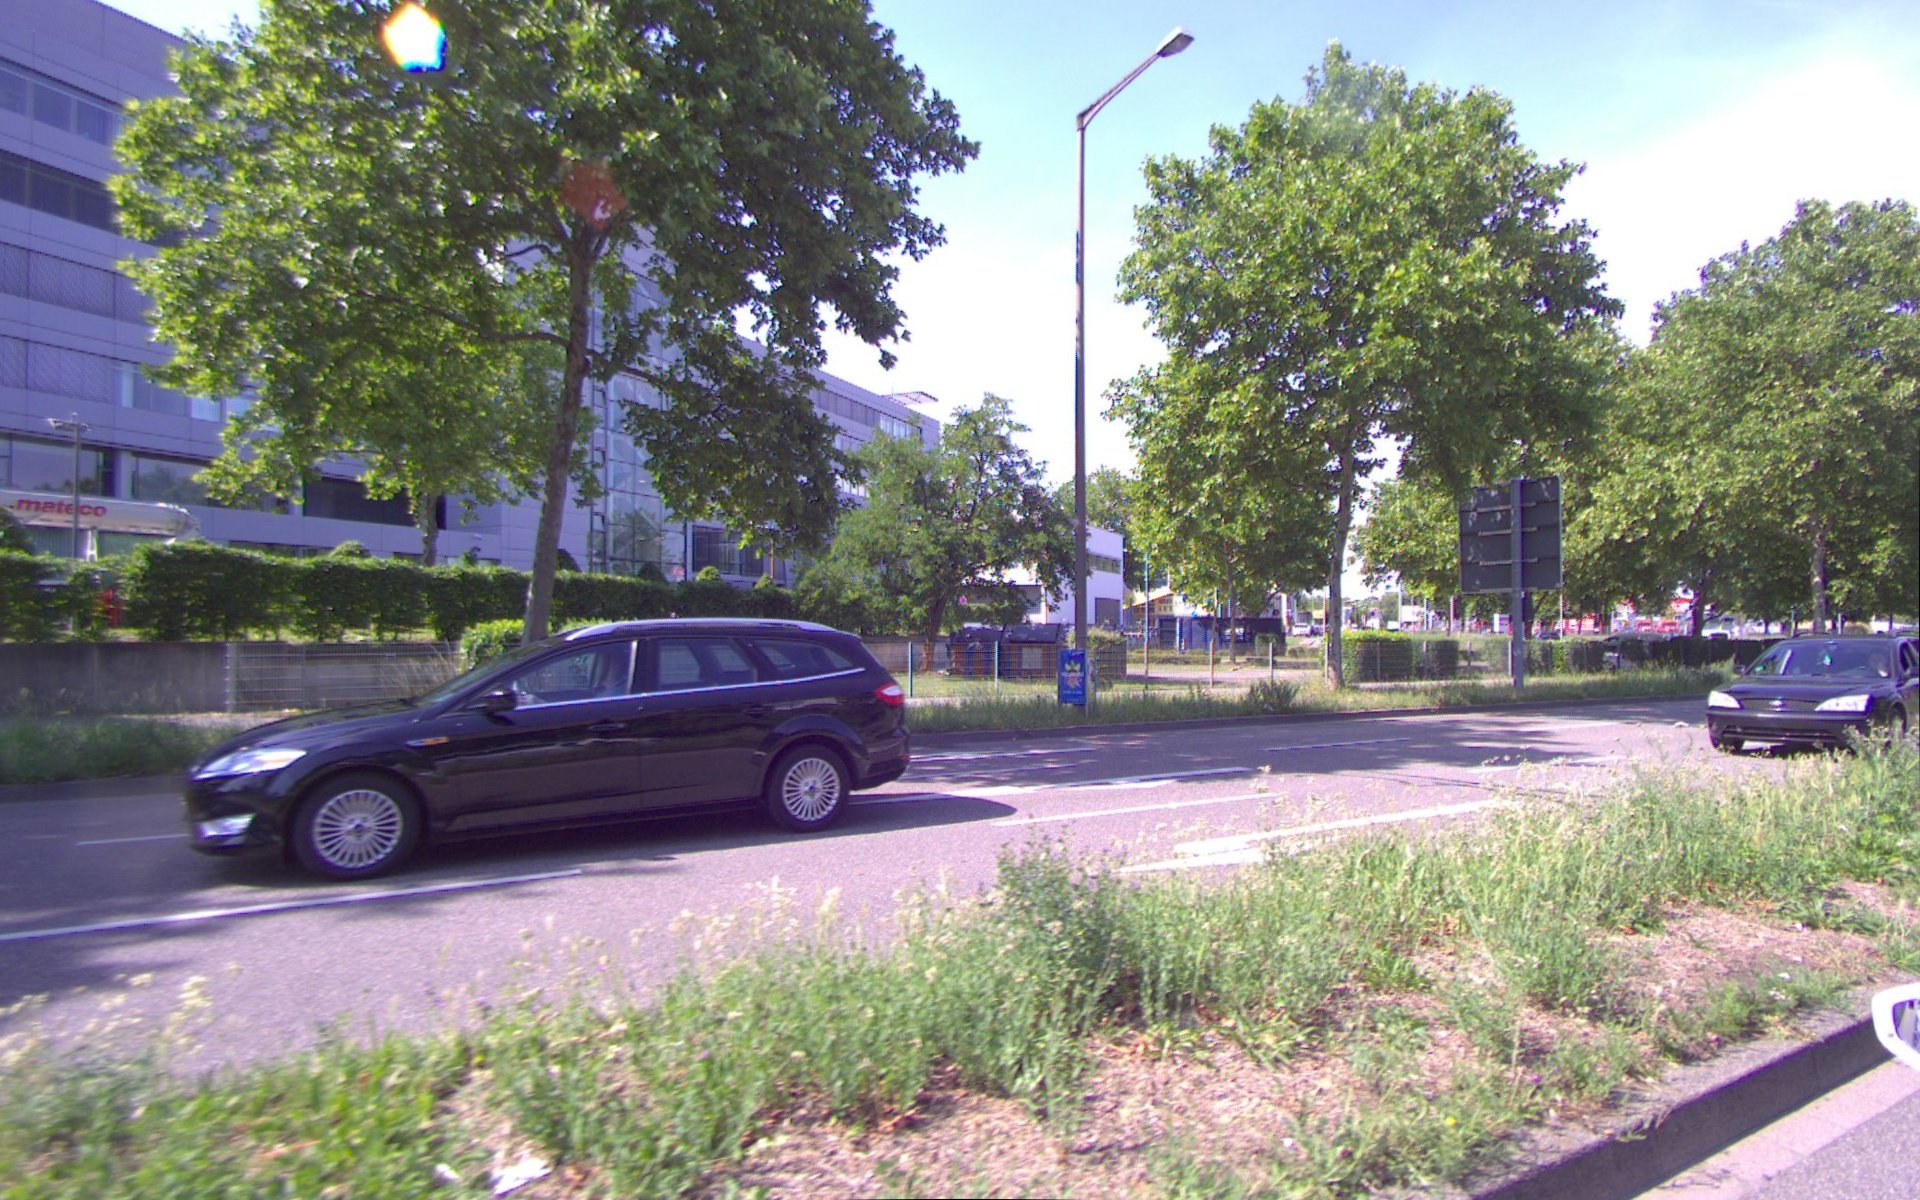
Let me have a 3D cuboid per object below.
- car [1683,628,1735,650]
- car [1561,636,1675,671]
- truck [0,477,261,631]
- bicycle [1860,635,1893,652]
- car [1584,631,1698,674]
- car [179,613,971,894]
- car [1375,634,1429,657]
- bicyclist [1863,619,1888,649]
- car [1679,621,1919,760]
[{"bbox_3d":[59.431,3.090,79.786,1.961,1.687,4.845,-1,-2,21],"label":"car"},{"bbox_3d":[29.693,2.396,45.428,1.751,1.483,3.970,1,-2,-29],"label":"car"},{"bbox_3d":[-22.211,-0.980,23.981,2.622,3.440,8.985,0,-2,23],"label":"truck"},{"bbox_3d":[46.679,2.205,51.166,1.904,0.877,0.686,1,-2,-31],"label":"bicycle"},{"bbox_3d":[32.148,2.450,47.529,2.128,1.847,3.974,2,-1,-26],"label":"car"},{"bbox_3d":[-2.478,0.883,7.394,4.931,1.487,1.818,1,-2,-31],"label":"car"},{"bbox_3d":[33.691,3.427,76.666,1.774,1.525,3.989,-2,0,-14],"label":"car"},{"bbox_3d":[46.649,1.725,51.165,0.931,1.504,0.678,1,-2,-30],"label":"bicyclist"},{"bbox_3d":[11.174,1.046,12.746,4.621,1.487,1.762,1,-3,-33],"label":"car"}]
